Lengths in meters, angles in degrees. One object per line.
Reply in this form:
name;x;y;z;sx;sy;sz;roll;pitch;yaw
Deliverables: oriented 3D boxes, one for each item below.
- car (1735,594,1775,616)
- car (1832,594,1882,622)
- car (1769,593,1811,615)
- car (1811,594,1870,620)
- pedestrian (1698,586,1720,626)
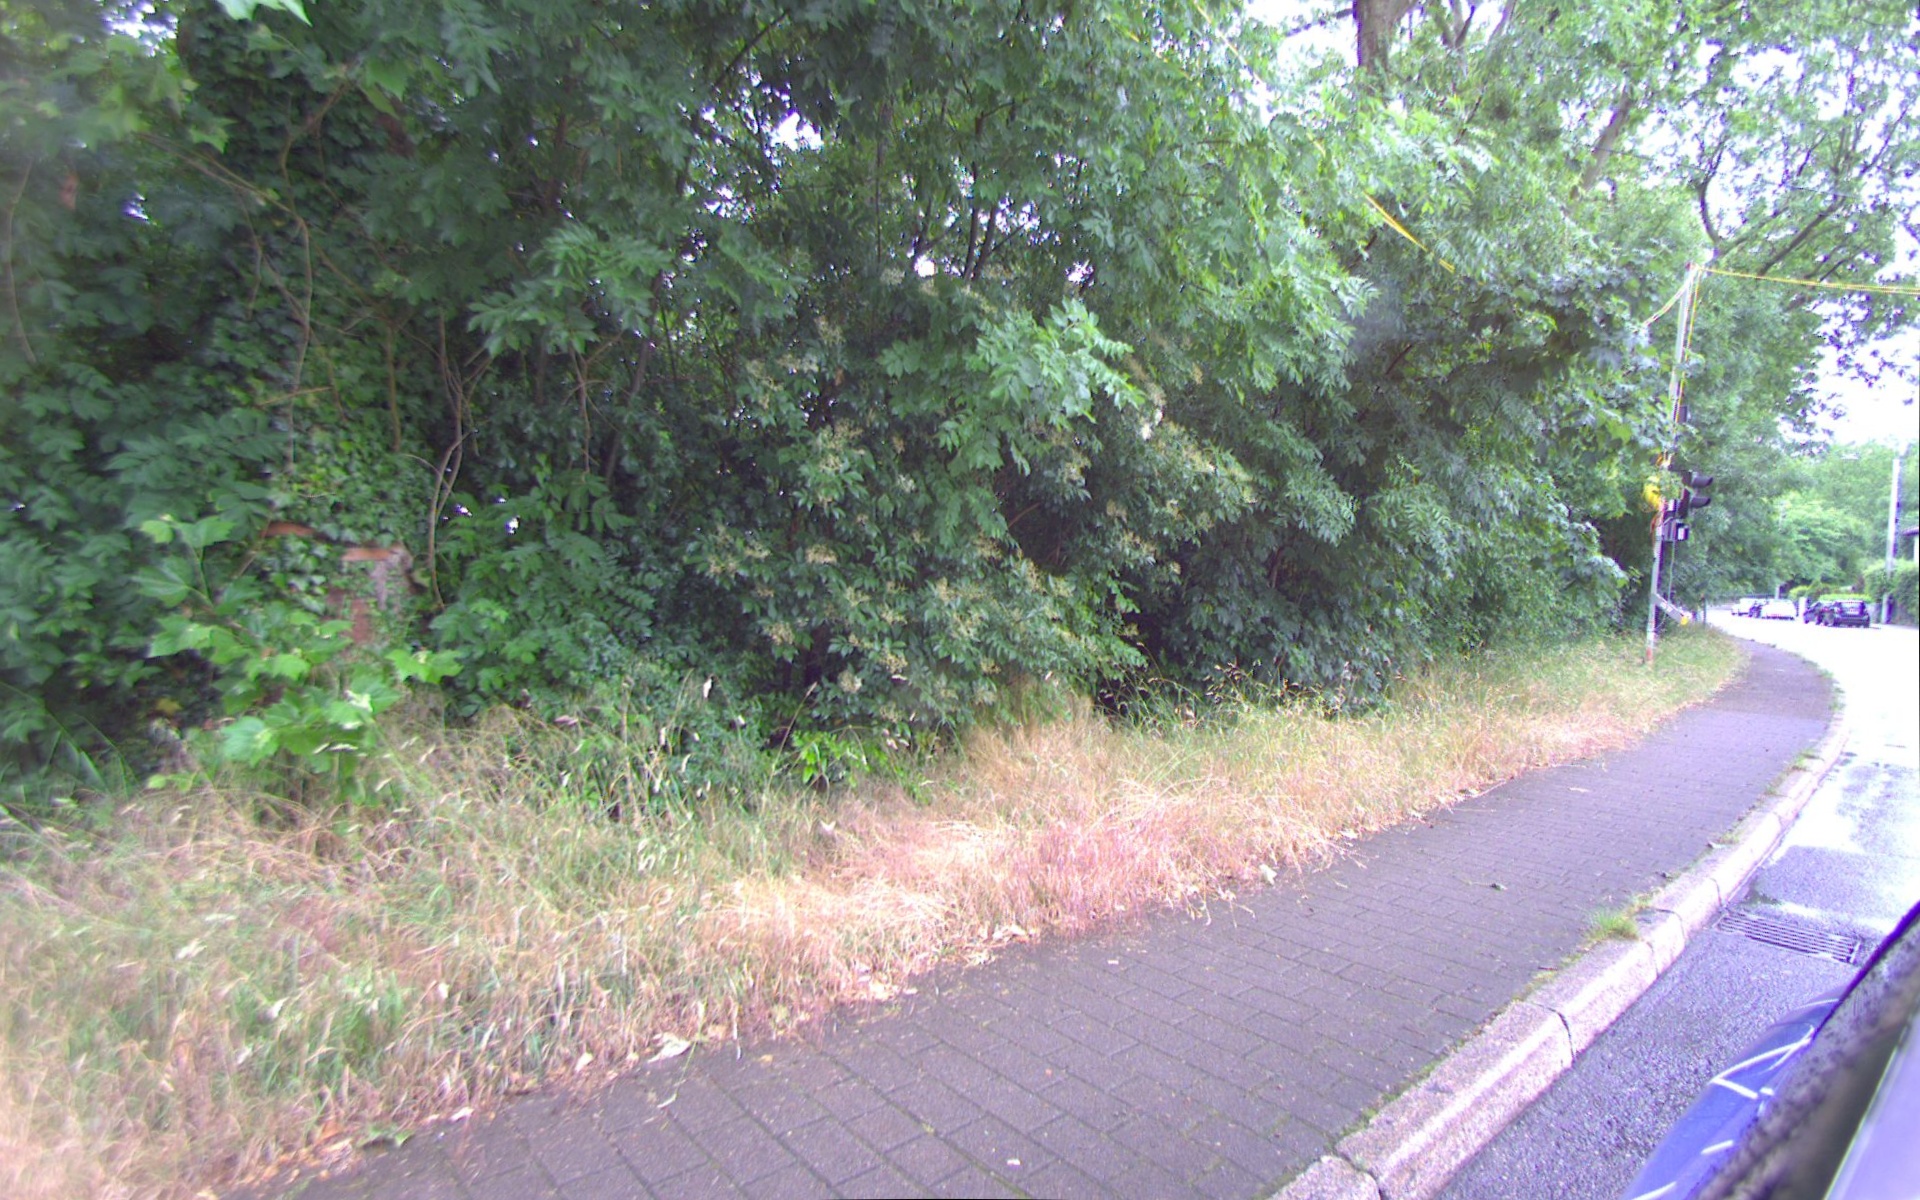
car;64.970;0.396;82.740;1.722;1.439;4.244;-3;1;28
car;50.801;0.446;57.356;1.512;1.472;2.996;4;2;31
car;60.414;0.271;73.739;1.688;1.486;3.674;2;1;29
car;52.665;0.403;60.596;1.678;1.435;4.175;3;2;27
pedestrian;31.410;0.249;42.454;0.638;1.631;0.663;2;2;30
